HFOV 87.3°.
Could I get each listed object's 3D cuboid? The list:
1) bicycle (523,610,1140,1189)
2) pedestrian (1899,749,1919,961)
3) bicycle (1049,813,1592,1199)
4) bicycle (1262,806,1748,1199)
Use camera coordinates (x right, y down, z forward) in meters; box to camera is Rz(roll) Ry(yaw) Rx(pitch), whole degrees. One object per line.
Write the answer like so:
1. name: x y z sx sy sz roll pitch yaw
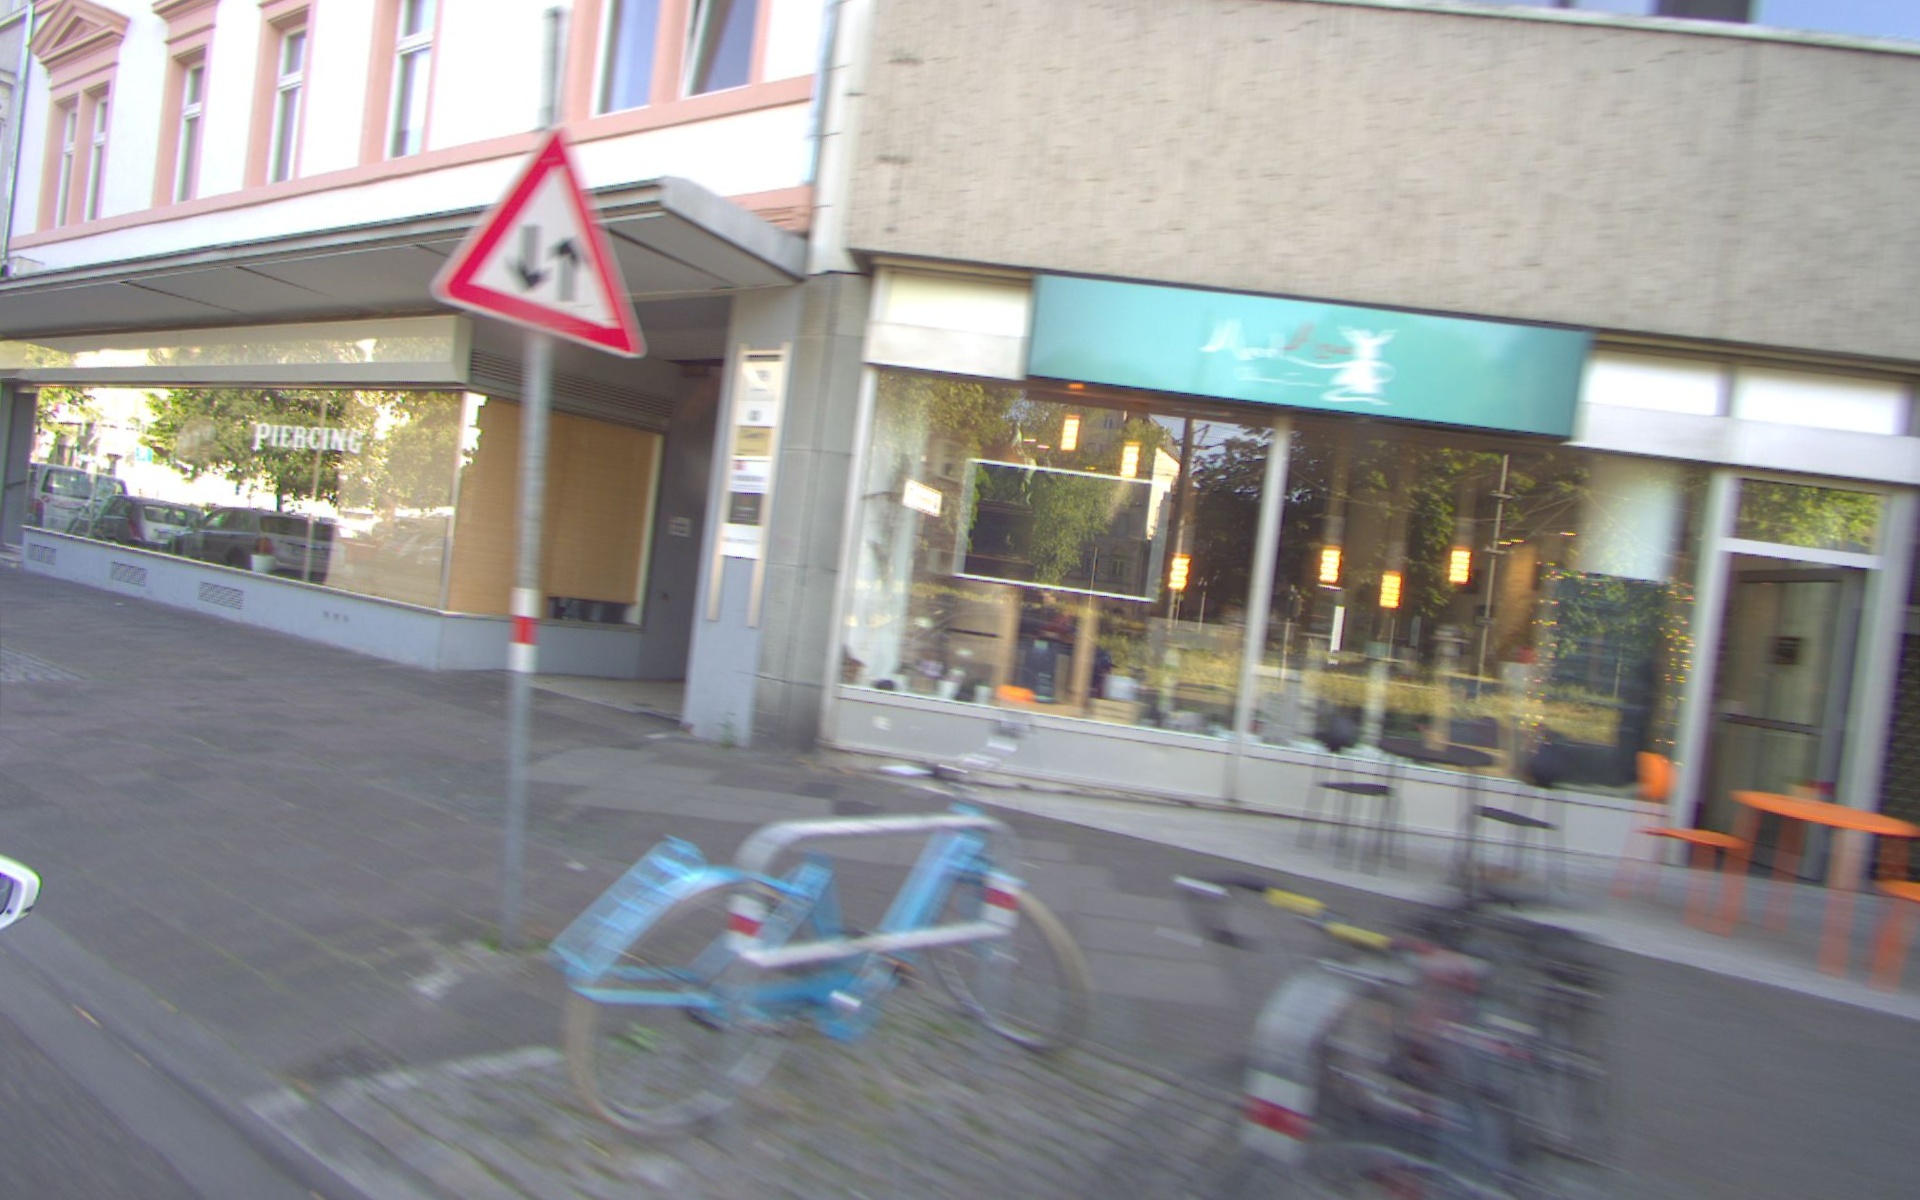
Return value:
1. bicycle: -0.304 0.768 3.019 1.615 1.257 0.652 8 -2 -40
2. pedestrian: 5.626 1.030 5.100 1.121 1.763 1.017 6 -1 44
3. bicycle: 0.938 1.071 2.341 1.699 1.016 0.422 9 -2 -44
4. bicycle: 1.197 1.013 2.056 1.675 1.074 0.339 9 -2 -44
